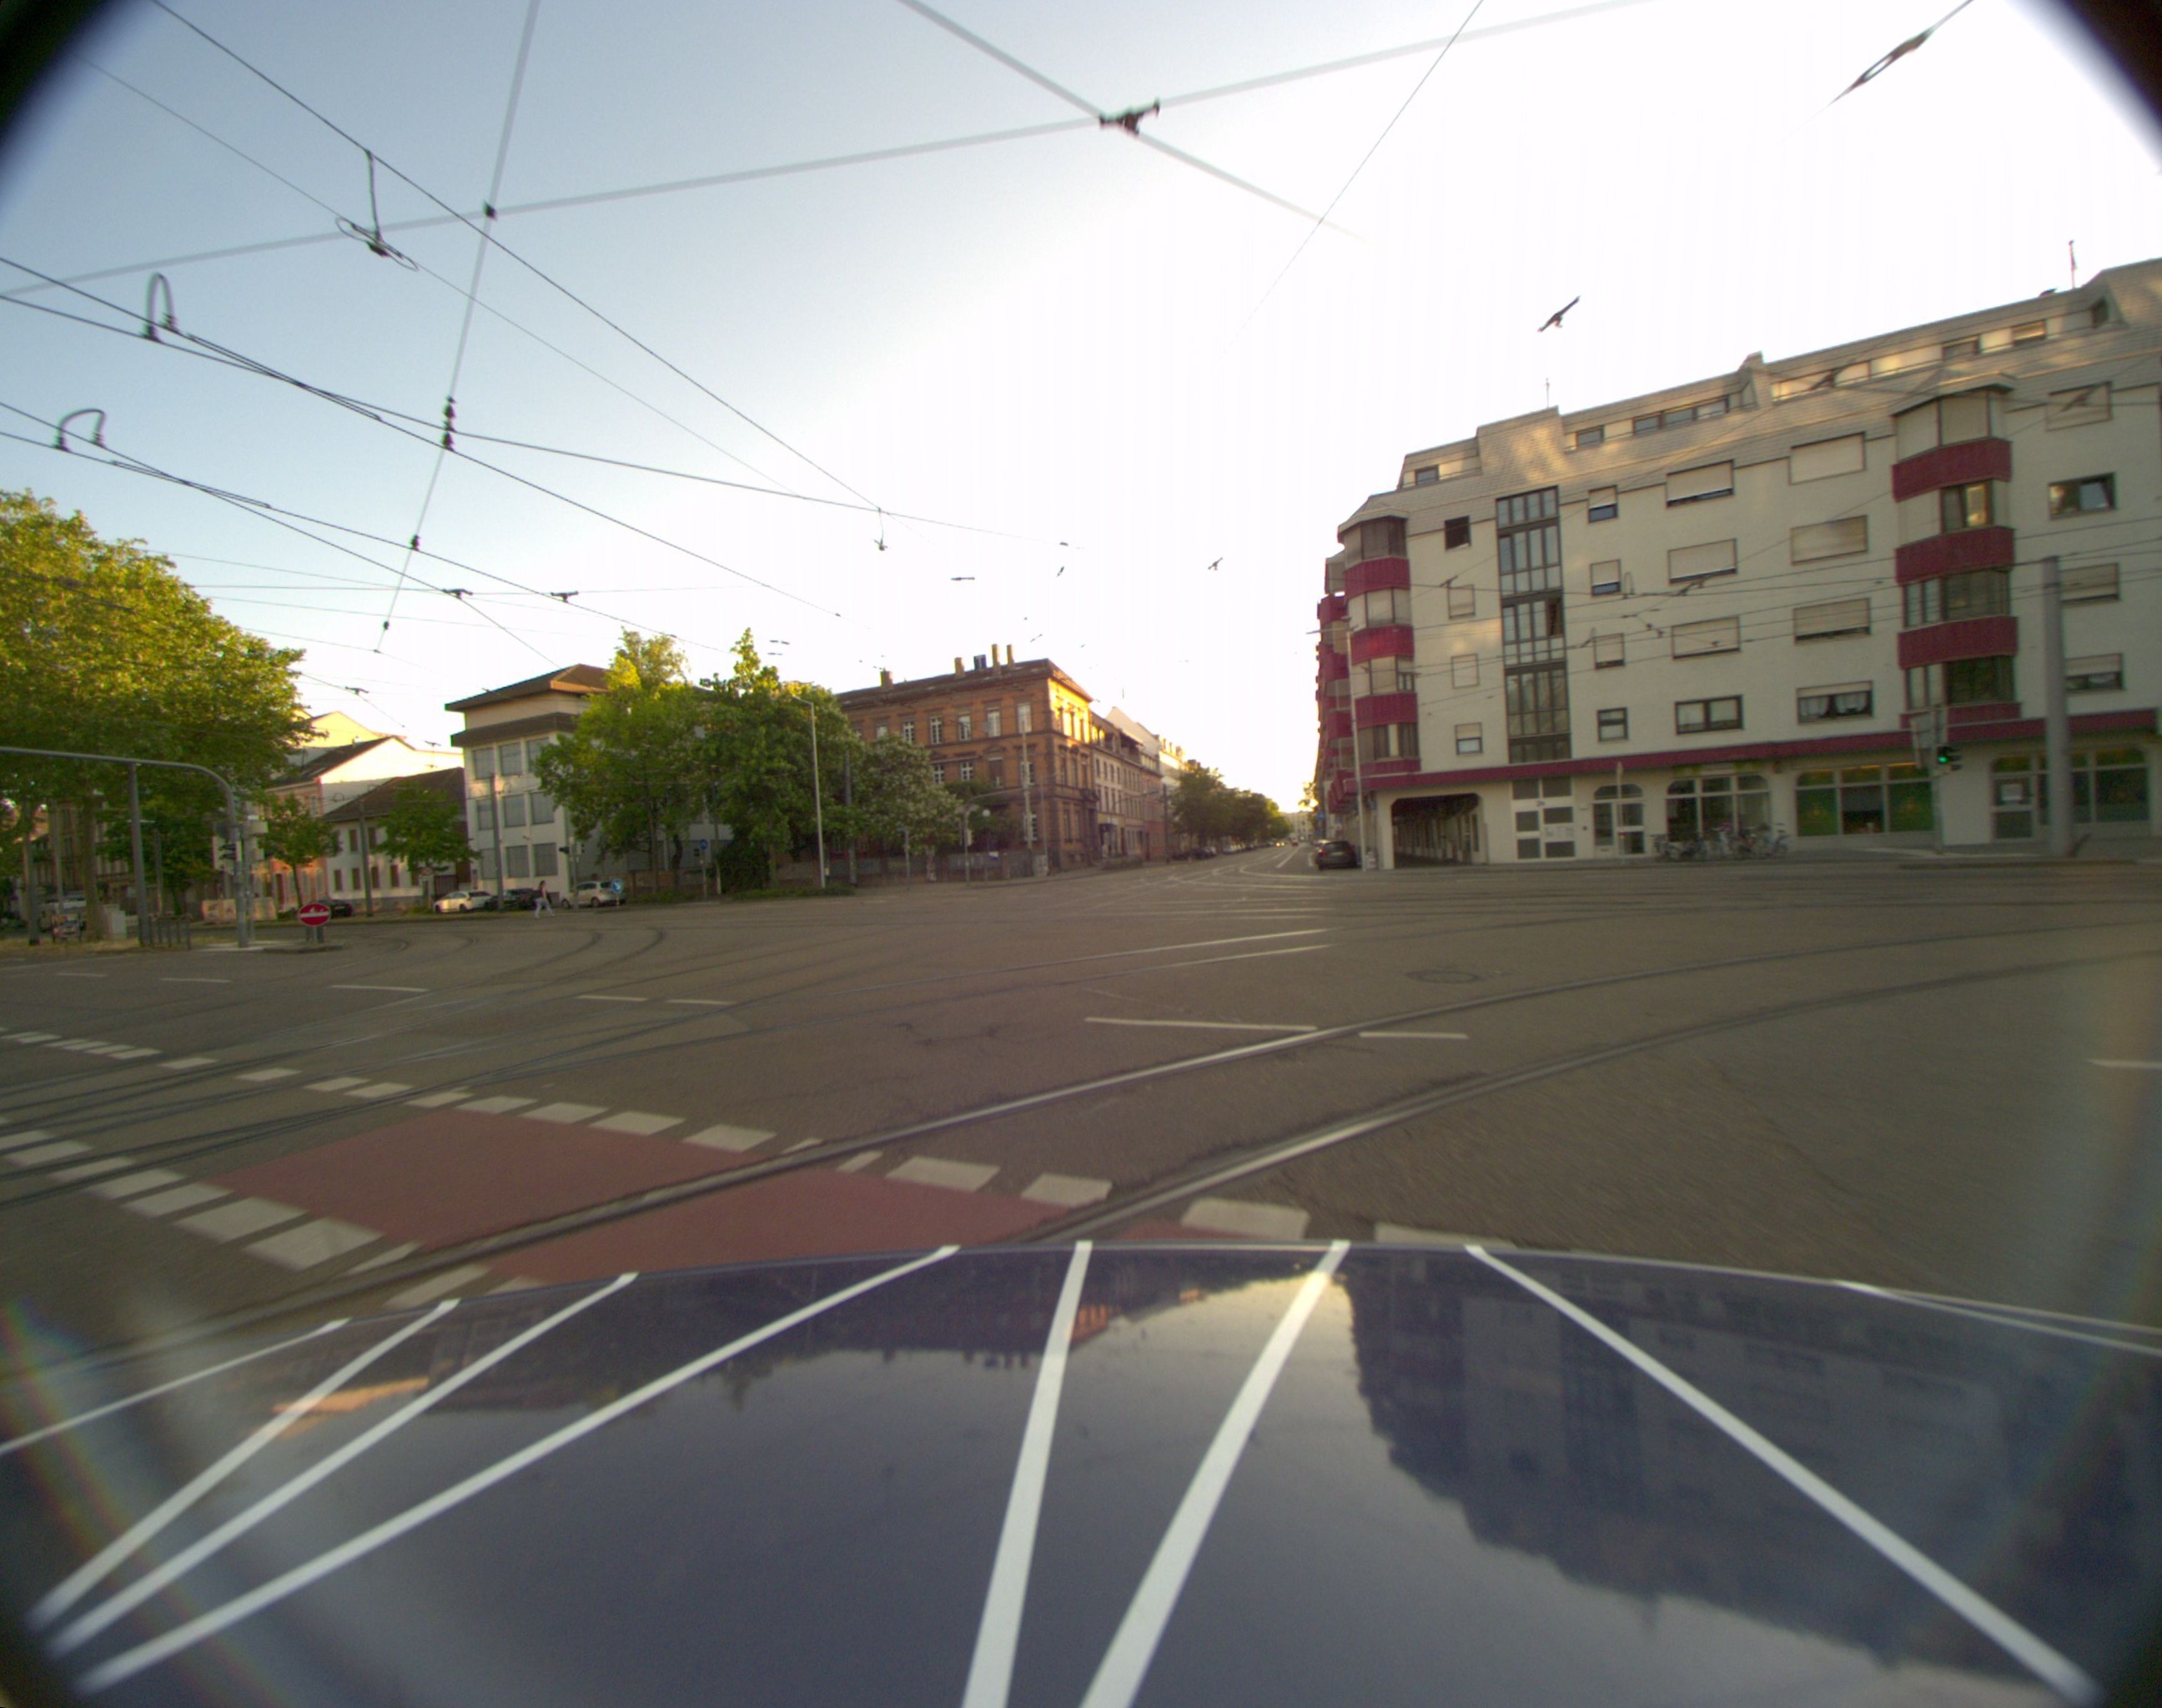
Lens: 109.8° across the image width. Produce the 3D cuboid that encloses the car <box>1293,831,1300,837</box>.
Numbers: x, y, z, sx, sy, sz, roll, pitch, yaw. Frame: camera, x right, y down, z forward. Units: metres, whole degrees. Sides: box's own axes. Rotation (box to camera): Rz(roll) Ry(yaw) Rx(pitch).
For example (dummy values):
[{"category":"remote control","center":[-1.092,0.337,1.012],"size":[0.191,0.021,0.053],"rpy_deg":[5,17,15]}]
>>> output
[{"category":"car","center":[56.427,-5.190,198.932],"size":[1.784,1.448,4.301],"rpy_deg":[-4,1,15]}]

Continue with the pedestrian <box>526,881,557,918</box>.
[{"category":"pedestrian","center":[-23.207,1.956,32.672],"size":[0.579,1.517,0.818],"rpy_deg":[-3,1,28]}]

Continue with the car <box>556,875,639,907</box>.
[{"category":"car","center":[-28.879,2.203,45.393],"size":[4.223,1.623,2.003],"rpy_deg":[-3,1,22]}]

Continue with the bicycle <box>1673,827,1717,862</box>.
[{"category":"bicycle","center":[19.833,-0.322,24.573],"size":[0.514,1.040,1.905],"rpy_deg":[-3,1,22]}]

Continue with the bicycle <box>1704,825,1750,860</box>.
[{"category":"bicycle","center":[20.641,-0.374,24.306],"size":[0.514,1.040,1.905],"rpy_deg":[-3,1,22]}]

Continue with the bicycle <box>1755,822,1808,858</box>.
[{"category":"bicycle","center":[21.679,-0.445,23.551],"size":[0.514,1.040,1.905],"rpy_deg":[-3,1,22]}]

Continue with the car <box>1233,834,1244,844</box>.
[{"category":"car","center":[30.301,-2.920,146.313],"size":[1.784,1.828,4.300],"rpy_deg":[-4,1,13]}]

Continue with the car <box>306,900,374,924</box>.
[{"category":"car","center":[-55.107,4.312,56.535],"size":[4.223,1.416,2.003],"rpy_deg":[-3,1,22]}]

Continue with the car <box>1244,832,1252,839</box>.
[{"category":"car","center":[37.143,-4.045,168.873],"size":[1.784,1.427,4.300],"rpy_deg":[-4,1,13]}]

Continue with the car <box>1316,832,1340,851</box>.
[{"category":"car","center":[20.959,-1.115,64.391],"size":[1.783,1.448,4.302],"rpy_deg":[-3,1,19]}]

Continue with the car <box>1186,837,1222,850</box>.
[{"category":"car","center":[16.565,-1.426,102.251],"size":[4.697,1.477,1.909],"rpy_deg":[-4,1,13]}]

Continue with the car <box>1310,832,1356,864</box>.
[{"category":"car","center":[12.864,-0.342,38.616],"size":[2.004,1.448,4.302],"rpy_deg":[-3,1,20]}]

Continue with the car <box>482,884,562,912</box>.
[{"category":"car","center":[-35.176,2.754,47.840],"size":[4.350,1.416,2.003],"rpy_deg":[-3,1,22]}]

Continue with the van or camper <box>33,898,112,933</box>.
[{"category":"van or camper","center":[-99.340,6.034,74.819],"size":[7.165,2.953,2.502],"rpy_deg":[-3,1,20]}]

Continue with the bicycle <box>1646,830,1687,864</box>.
[{"category":"bicycle","center":[19.134,-0.260,24.846],"size":[0.514,1.040,1.905],"rpy_deg":[-3,1,22]}]

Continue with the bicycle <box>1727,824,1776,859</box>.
[{"category":"bicycle","center":[21.175,-0.401,24.035],"size":[0.514,1.040,1.905],"rpy_deg":[-3,1,22]}]

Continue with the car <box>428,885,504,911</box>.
[{"category":"car","center":[-40.540,2.923,50.100],"size":[4.223,1.416,2.003],"rpy_deg":[-3,1,22]}]

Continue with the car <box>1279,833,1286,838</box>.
[{"category":"car","center":[60.730,-5.692,229.302],"size":[1.783,1.448,4.301],"rpy_deg":[-3,1,16]}]

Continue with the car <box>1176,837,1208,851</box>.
[{"category":"car","center":[13.870,-1.260,95.082],"size":[3.768,1.477,1.909],"rpy_deg":[-4,1,13]}]

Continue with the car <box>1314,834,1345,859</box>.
[{"category":"car","center":[16.401,-0.504,50.099],"size":[1.783,1.448,4.302],"rpy_deg":[-3,1,19]}]

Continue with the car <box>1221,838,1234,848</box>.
[{"category":"car","center":[24.176,-1.835,125.251],"size":[1.784,1.448,4.300],"rpy_deg":[-4,1,13]}]

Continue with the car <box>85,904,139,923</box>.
[{"category":"car","center":[-91.977,5.638,72.127],"size":[4.223,1.416,2.003],"rpy_deg":[-3,1,22]}]
